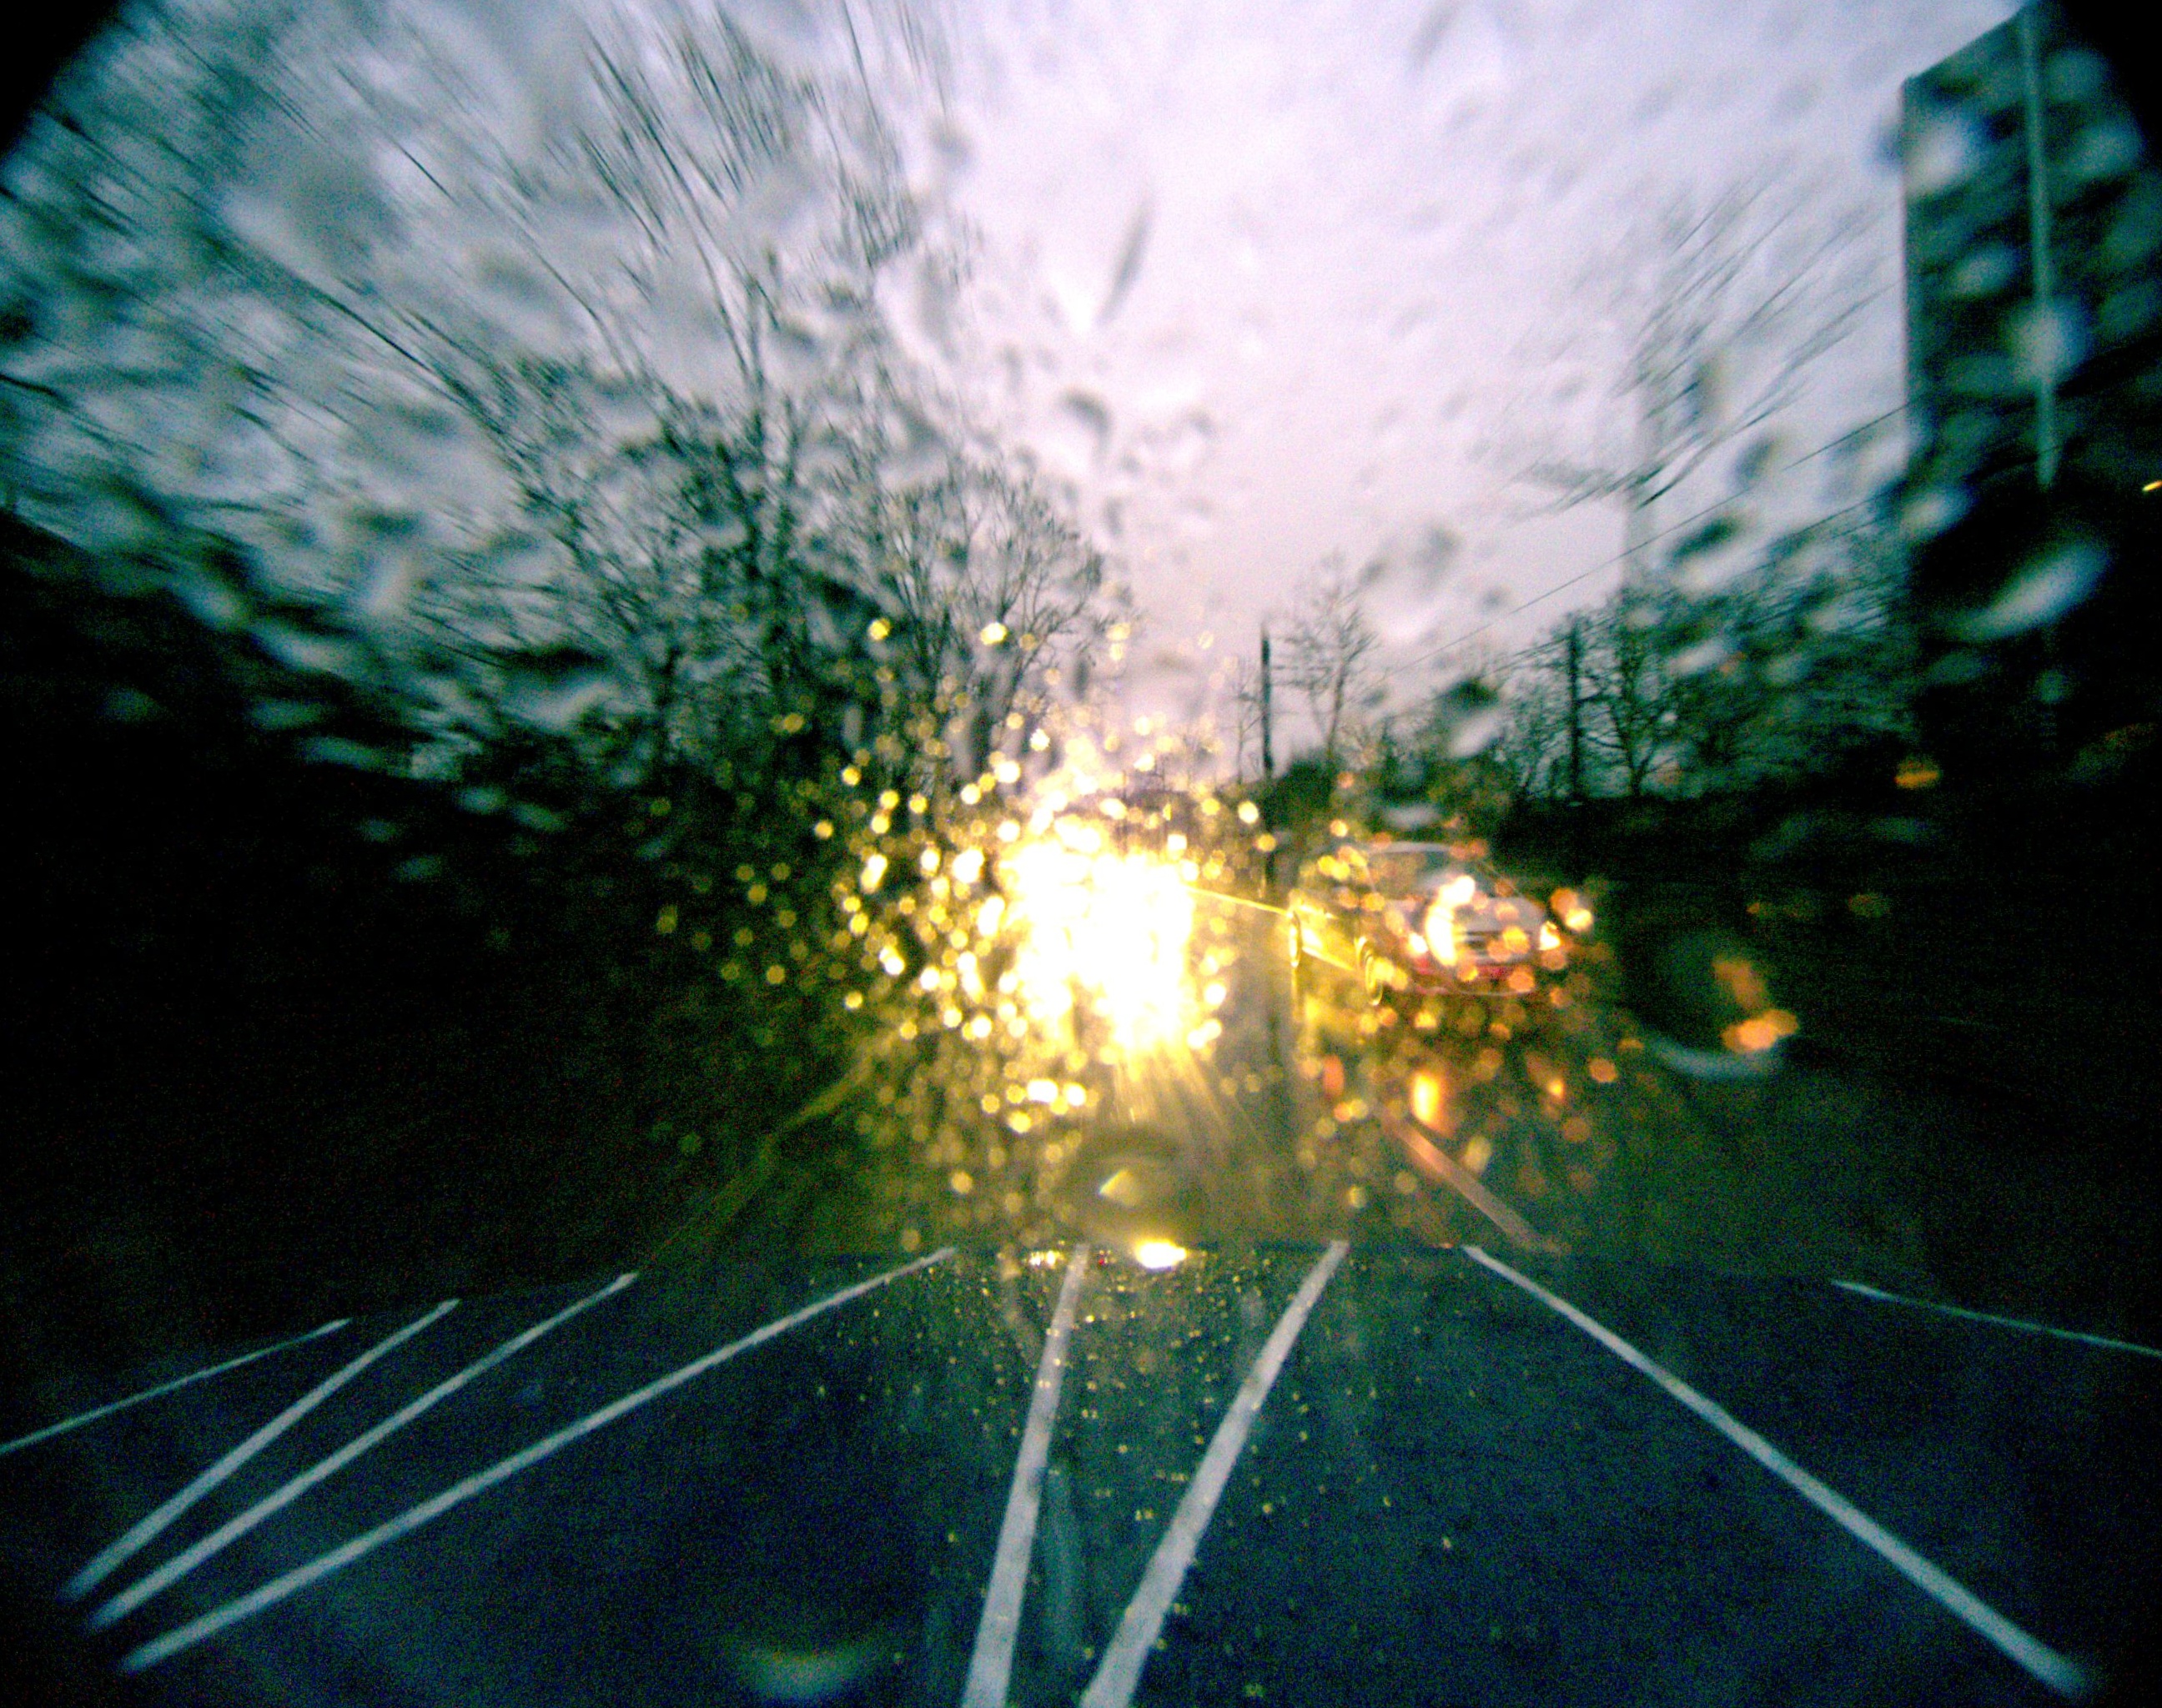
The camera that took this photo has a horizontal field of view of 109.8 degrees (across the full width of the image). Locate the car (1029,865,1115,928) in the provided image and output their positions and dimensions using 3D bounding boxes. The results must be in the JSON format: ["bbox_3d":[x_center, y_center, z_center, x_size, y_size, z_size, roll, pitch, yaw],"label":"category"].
[{"bbox_3d":[-0.243,0.985,19.204,1.897,1.347,4.289,-1,0,-1],"label":"car"}]

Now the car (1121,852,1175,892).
[{"bbox_3d":[2.851,0.750,33.213,1.924,1.546,4.216,-2,0,0],"label":"car"}]

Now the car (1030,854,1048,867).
[{"bbox_3d":[-5.383,0.800,97.380,1.950,1.546,4.214,-2,0,-7],"label":"car"}]

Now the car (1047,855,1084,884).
[{"bbox_3d":[-0.922,0.866,43.876,1.950,1.546,4.216,-2,0,-3],"label":"car"}]

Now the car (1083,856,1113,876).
[{"bbox_3d":[1.353,0.997,63.528,1.950,1.546,4.215,-2,0,-6],"label":"car"}]

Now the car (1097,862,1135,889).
[{"bbox_3d":[2.137,1.321,47.997,1.845,1.546,4.215,-2,0,-4],"label":"car"}]

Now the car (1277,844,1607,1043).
[{"bbox_3d":[3.459,0.737,8.185,1.669,1.566,3.922,-2,0,1],"label":"car"}]
